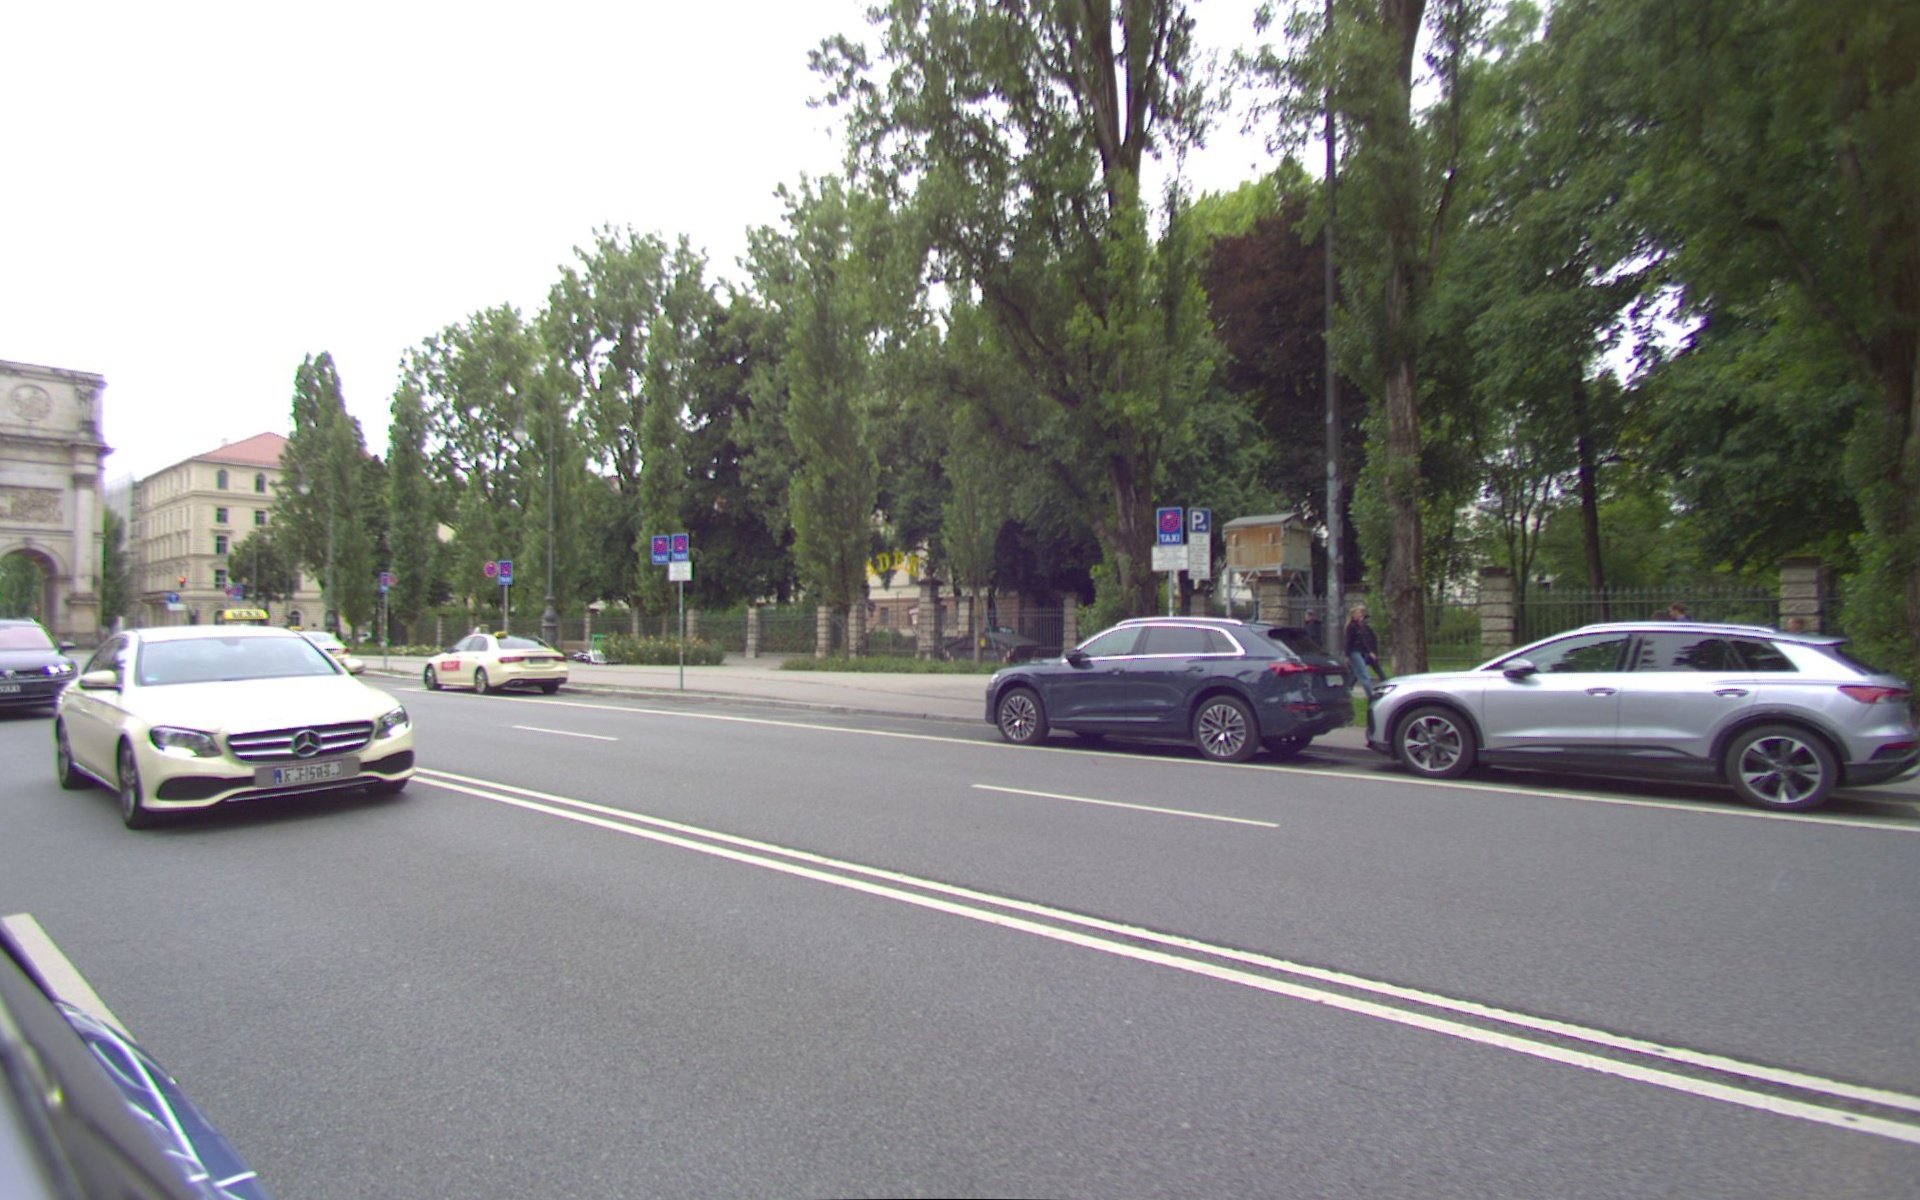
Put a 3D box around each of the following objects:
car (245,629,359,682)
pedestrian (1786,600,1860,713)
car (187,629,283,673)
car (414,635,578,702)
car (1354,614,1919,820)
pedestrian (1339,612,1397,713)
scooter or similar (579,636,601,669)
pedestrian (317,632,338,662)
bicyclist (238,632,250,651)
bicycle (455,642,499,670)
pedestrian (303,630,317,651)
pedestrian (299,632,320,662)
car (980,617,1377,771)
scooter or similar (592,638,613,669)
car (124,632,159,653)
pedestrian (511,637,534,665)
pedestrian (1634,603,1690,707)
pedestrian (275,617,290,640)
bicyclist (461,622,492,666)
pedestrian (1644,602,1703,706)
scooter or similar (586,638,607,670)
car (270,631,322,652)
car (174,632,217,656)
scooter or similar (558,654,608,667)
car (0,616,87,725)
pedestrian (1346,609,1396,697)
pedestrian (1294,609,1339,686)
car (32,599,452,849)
[{"bbox_3d":[-22.594,1.854,34.674,4.961,1.637,1.917,-1,-2,40],"label":"car"},{"bbox_3d":[12.898,0.831,15.144,0.790,1.630,0.702,-2,-2,40],"label":"pedestrian"},{"bbox_3d":[-27.910,1.945,38.912,4.855,1.571,1.800,-1,-4,40],"label":"car"},{"bbox_3d":[-11.569,1.655,25.079,4.788,1.509,1.910,-3,-3,41],"label":"car"},{"bbox_3d":[6.517,0.988,9.858,4.650,1.596,1.871,-2,-3,40],"label":"car"},{"bbox_3d":[7.200,1.078,17.862,0.786,1.733,0.577,-2,-2,39],"label":"pedestrian"},{"bbox_3d":[-14.310,2.029,39.131,1.140,1.251,0.255,-2,-2,42],"label":"scooter or similar"},{"bbox_3d":[-36.379,2.681,58.250,0.834,1.691,0.967,1,-3,-44],"label":"pedestrian"},{"bbox_3d":[-65.155,3.736,92.065,0.858,1.723,0.636,-2,-2,34],"label":"bicyclist"},{"bbox_3d":[-16.827,1.946,35.226,1.733,0.946,0.700,-2,-2,39],"label":"bicycle"},{"bbox_3d":[-55.552,3.465,86.487,0.902,1.799,0.755,2,-3,-45],"label":"pedestrian"},{"bbox_3d":[-37.174,2.685,57.853,0.834,1.691,0.967,1,-3,-44],"label":"pedestrian"},{"bbox_3d":[2.595,1.087,12.758,4.610,1.608,1.764,-2,-4,40],"label":"car"},{"bbox_3d":[-13.964,2.085,39.530,1.121,1.210,0.240,-2,-2,41],"label":"scooter or similar"},{"bbox_3d":[-66.567,3.434,82.309,4.002,1.684,1.761,-2,-3,45],"label":"car"},{"bbox_3d":[-21.580,2.506,49.929,0.832,1.347,0.575,-1,-2,14],"label":"pedestrian"},{"bbox_3d":[11.606,0.896,16.729,0.673,1.682,0.543,-2,-2,41],"label":"pedestrian"},{"bbox_3d":[-59.764,2.541,89.267,0.747,2.029,0.793,-1,-2,5],"label":"pedestrian"},{"bbox_3d":[-16.829,1.534,35.226,0.860,1.510,0.687,-2,-3,39],"label":"bicyclist"},{"bbox_3d":[12.041,0.896,17.078,0.722,1.720,0.503,-2,-2,41],"label":"pedestrian"},{"bbox_3d":[-14.135,2.084,39.333,1.121,1.210,0.240,-2,-2,41],"label":"scooter or similar"},{"bbox_3d":[-65.902,4.144,100.506,1.998,2.029,3.946,-2,-2,40],"label":"car"},{"bbox_3d":[-64.486,3.712,85.369,4.989,1.869,1.977,-1,-3,42],"label":"car"},{"bbox_3d":[-16.032,2.568,43.126,1.314,0.522,2.236,0,-2,-1],"label":"scooter or similar"},{"bbox_3d":[-16.368,1.133,17.002,4.408,1.636,1.928,-1,0,41],"label":"car"},{"bbox_3d":[8.045,1.019,19.808,0.704,1.672,0.612,-2,-2,41],"label":"pedestrian"},{"bbox_3d":[7.603,1.000,21.599,0.704,1.608,0.612,-2,-2,42],"label":"pedestrian"},{"bbox_3d":[-6.401,0.841,8.791,4.686,1.587,1.895,-1,0,41],"label":"car"}]
